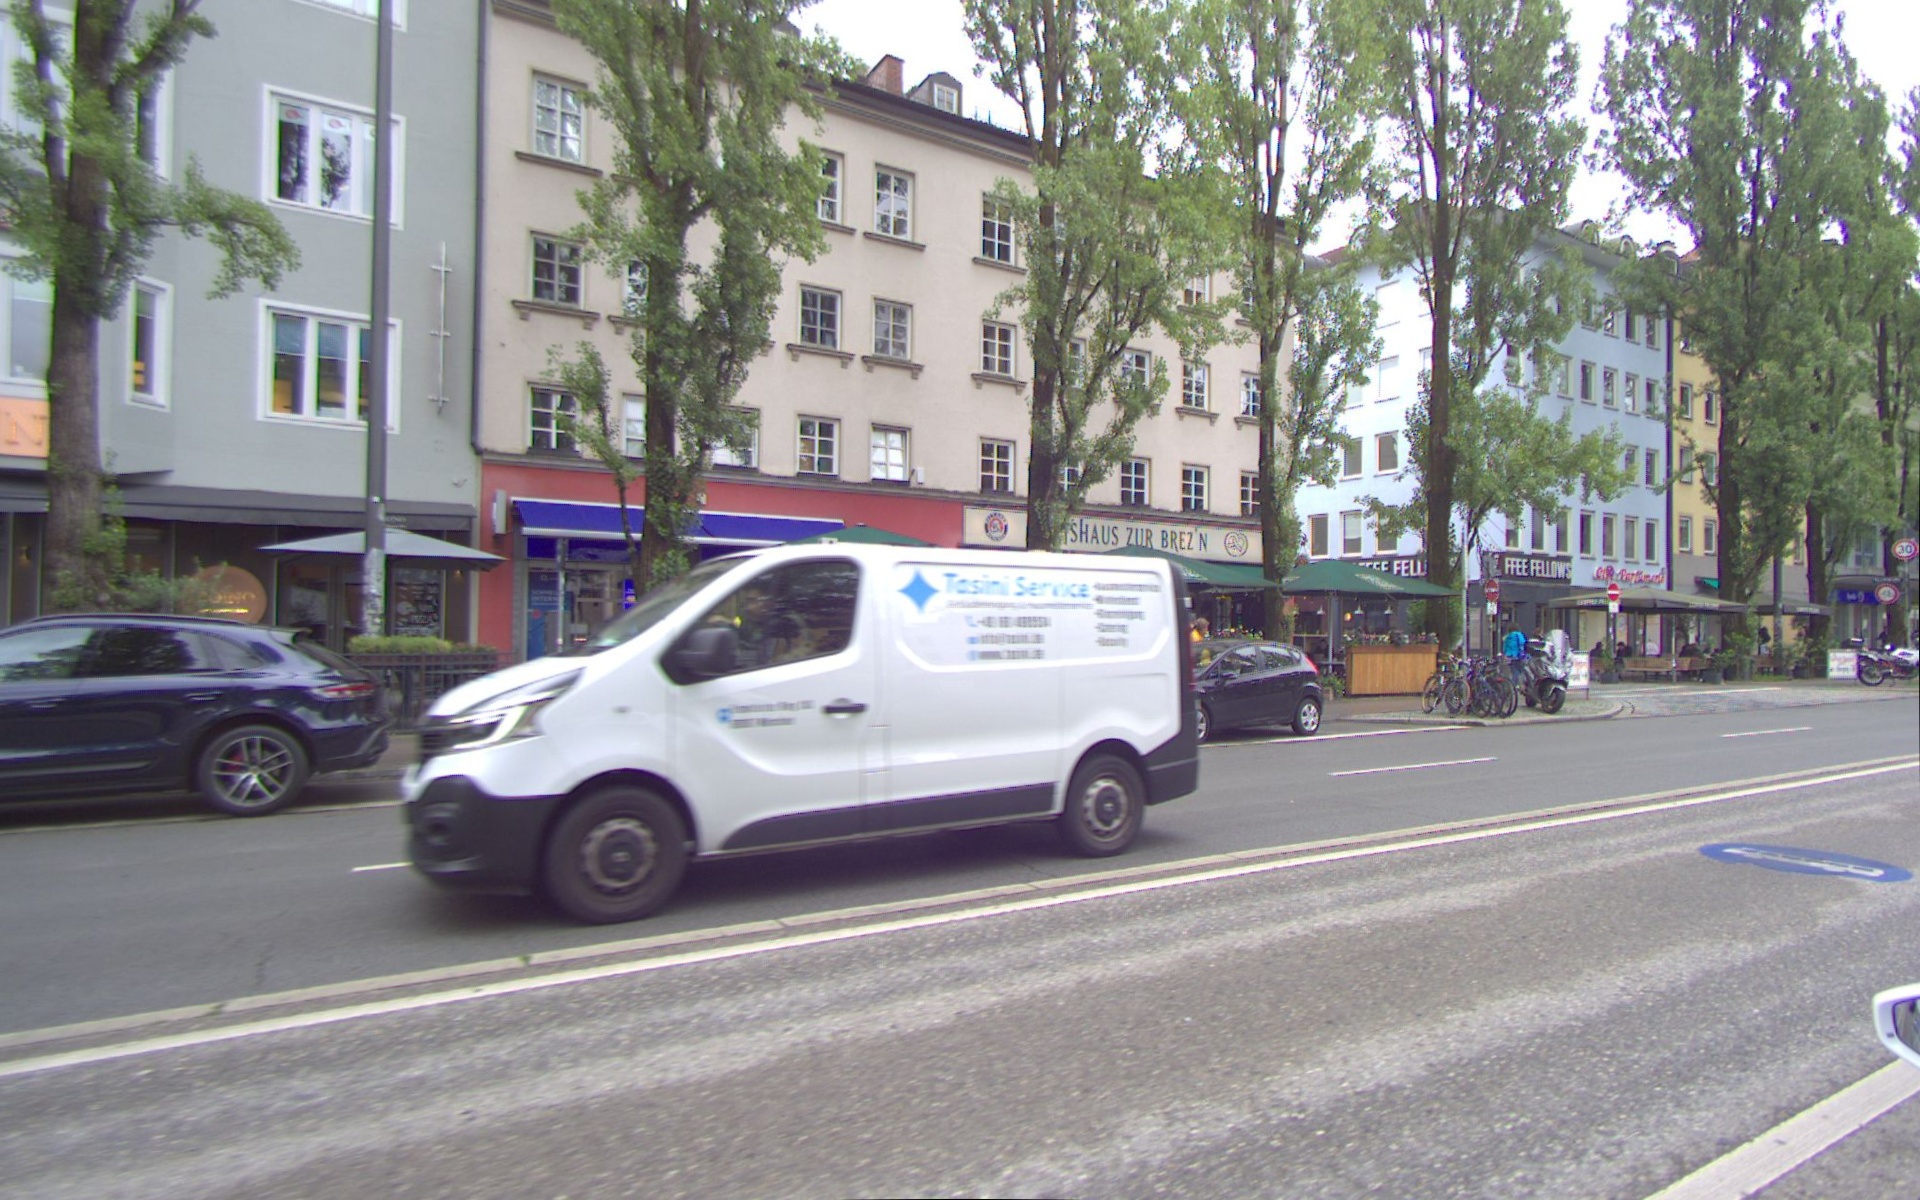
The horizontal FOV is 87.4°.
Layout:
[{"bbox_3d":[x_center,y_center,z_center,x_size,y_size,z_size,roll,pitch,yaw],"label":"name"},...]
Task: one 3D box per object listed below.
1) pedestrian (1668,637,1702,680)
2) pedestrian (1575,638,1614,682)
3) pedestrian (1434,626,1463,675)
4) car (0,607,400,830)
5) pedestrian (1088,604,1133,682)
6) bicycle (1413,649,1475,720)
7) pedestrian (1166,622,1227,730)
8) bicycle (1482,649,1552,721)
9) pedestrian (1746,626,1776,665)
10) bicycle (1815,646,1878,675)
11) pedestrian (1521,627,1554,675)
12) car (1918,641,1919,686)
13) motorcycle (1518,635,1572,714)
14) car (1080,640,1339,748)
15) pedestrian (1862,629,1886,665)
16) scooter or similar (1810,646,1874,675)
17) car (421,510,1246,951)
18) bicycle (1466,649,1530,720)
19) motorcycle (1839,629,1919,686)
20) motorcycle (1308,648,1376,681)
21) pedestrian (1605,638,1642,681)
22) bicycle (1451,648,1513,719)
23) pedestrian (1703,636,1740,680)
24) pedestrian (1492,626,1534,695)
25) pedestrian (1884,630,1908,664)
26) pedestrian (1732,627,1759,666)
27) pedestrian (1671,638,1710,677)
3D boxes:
[{"bbox_3d":[23.542,1.894,32.620,0.692,1.380,0.709,1,-2,-32],"label":"pedestrian"},{"bbox_3d":[20.234,1.896,32.034,0.938,1.380,0.695,1,-2,-27],"label":"pedestrian"},{"bbox_3d":[18.297,1.875,37.590,0.933,1.796,0.699,0,-2,30],"label":"pedestrian"},{"bbox_3d":[-7.221,0.901,8.280,4.520,1.634,1.789,1,-2,-30],"label":"car"},{"bbox_3d":[3.840,1.087,25.642,0.894,1.952,0.695,1,-2,-27],"label":"pedestrian"},{"bbox_3d":[8.761,1.499,18.241,0.335,1.140,1.983,2,0,7],"label":"bicycle"},{"bbox_3d":[3.945,1.241,16.744,0.724,1.749,0.694,1,-2,-33],"label":"pedestrian"},{"bbox_3d":[10.106,1.507,18.287,0.353,1.140,1.983,2,0,7],"label":"bicycle"},{"bbox_3d":[34.174,1.945,42.841,0.713,1.657,0.699,1,-1,-6],"label":"pedestrian"},{"bbox_3d":[34.008,2.298,38.535,0.417,1.040,1.763,1,-2,-32],"label":"bicycle"},{"bbox_3d":[20.996,1.855,36.507,0.775,1.708,0.753,1,-2,-27],"label":"pedestrian"},{"bbox_3d":[32.823,2.032,32.403,4.100,1.438,1.729,1,-3,-31],"label":"car"},{"bbox_3d":[11.398,1.399,19.635,0.732,1.433,2.452,0,-2,26],"label":"motorcycle"},{"bbox_3d":[3.796,1.322,15.128,3.745,1.441,1.745,2,-3,-34],"label":"car"},{"bbox_3d":[47.436,2.434,52.104,0.717,1.818,0.695,1,-1,-26],"label":"pedestrian"},{"bbox_3d":[33.510,2.279,38.177,0.417,1.040,1.763,1,-2,-32],"label":"scooter or similar"},{"bbox_3d":[-0.641,0.672,6.565,5.012,1.957,1.884,1,-3,-30],"label":"car"},{"bbox_3d":[9.773,1.503,18.304,0.277,1.140,1.983,2,0,7],"label":"bicycle"},{"bbox_3d":[27.283,1.686,29.346,2.301,1.584,0.715,1,0,18],"label":"motorcycle"},{"bbox_3d":[15.410,2.585,40.596,0.729,1.219,2.748,-1,-1,-29],"label":"motorcycle"},{"bbox_3d":[21.545,1.925,32.606,0.808,1.380,0.695,1,-2,-27],"label":"pedestrian"},{"bbox_3d":[9.497,1.493,18.338,0.277,1.140,1.983,2,0,7],"label":"bicycle"},{"bbox_3d":[24.505,1.870,32.335,0.838,1.380,0.694,1,-2,-31],"label":"pedestrian"},{"bbox_3d":[13.549,1.466,24.612,0.690,1.668,0.945,-1,-2,44],"label":"pedestrian"},{"bbox_3d":[47.884,2.405,51.392,0.717,1.722,0.695,1,-1,-26],"label":"pedestrian"},{"bbox_3d":[33.569,1.978,42.918,0.553,1.657,0.699,1,-1,-6],"label":"pedestrian"},{"bbox_3d":[23.248,1.820,31.975,0.692,1.198,0.811,1,-2,-31],"label":"pedestrian"}]
